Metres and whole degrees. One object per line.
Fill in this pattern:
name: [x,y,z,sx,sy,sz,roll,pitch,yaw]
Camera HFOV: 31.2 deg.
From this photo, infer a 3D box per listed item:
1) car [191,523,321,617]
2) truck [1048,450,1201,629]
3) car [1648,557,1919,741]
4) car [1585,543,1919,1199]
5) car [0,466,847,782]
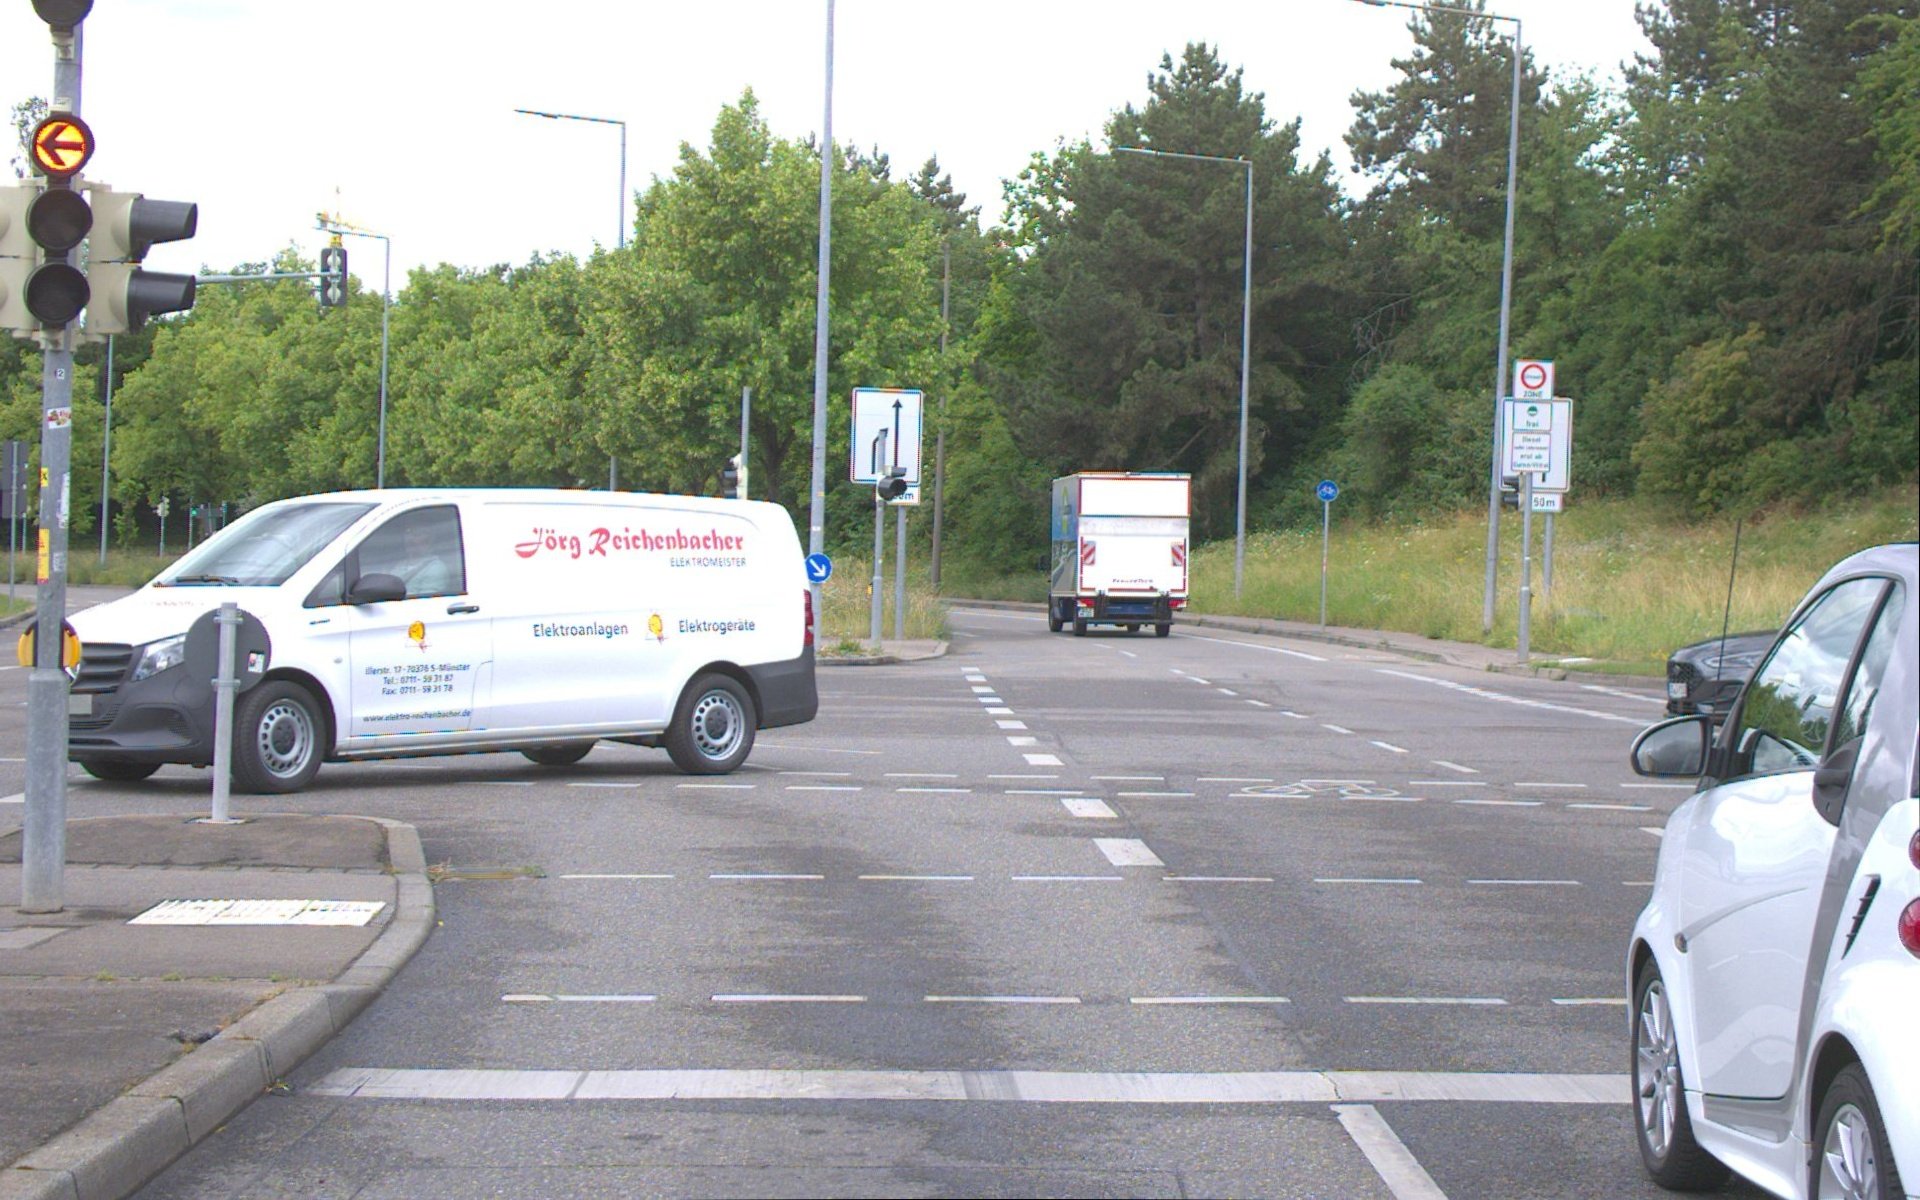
car: [-13.644,-0.606,66.779,1.915,1.722,4.001,0,2,-3]
truck: [3.400,-1.274,72.735,2.683,3.586,7.264,0,1,-2]
car: [8.183,0.397,28.920,4.492,1.456,2.000,1,1,5]
car: [2.318,0.638,7.128,1.535,1.499,2.670,0,1,0]
car: [-3.427,0.176,22.244,5.421,1.809,1.999,1,-1,-43]
